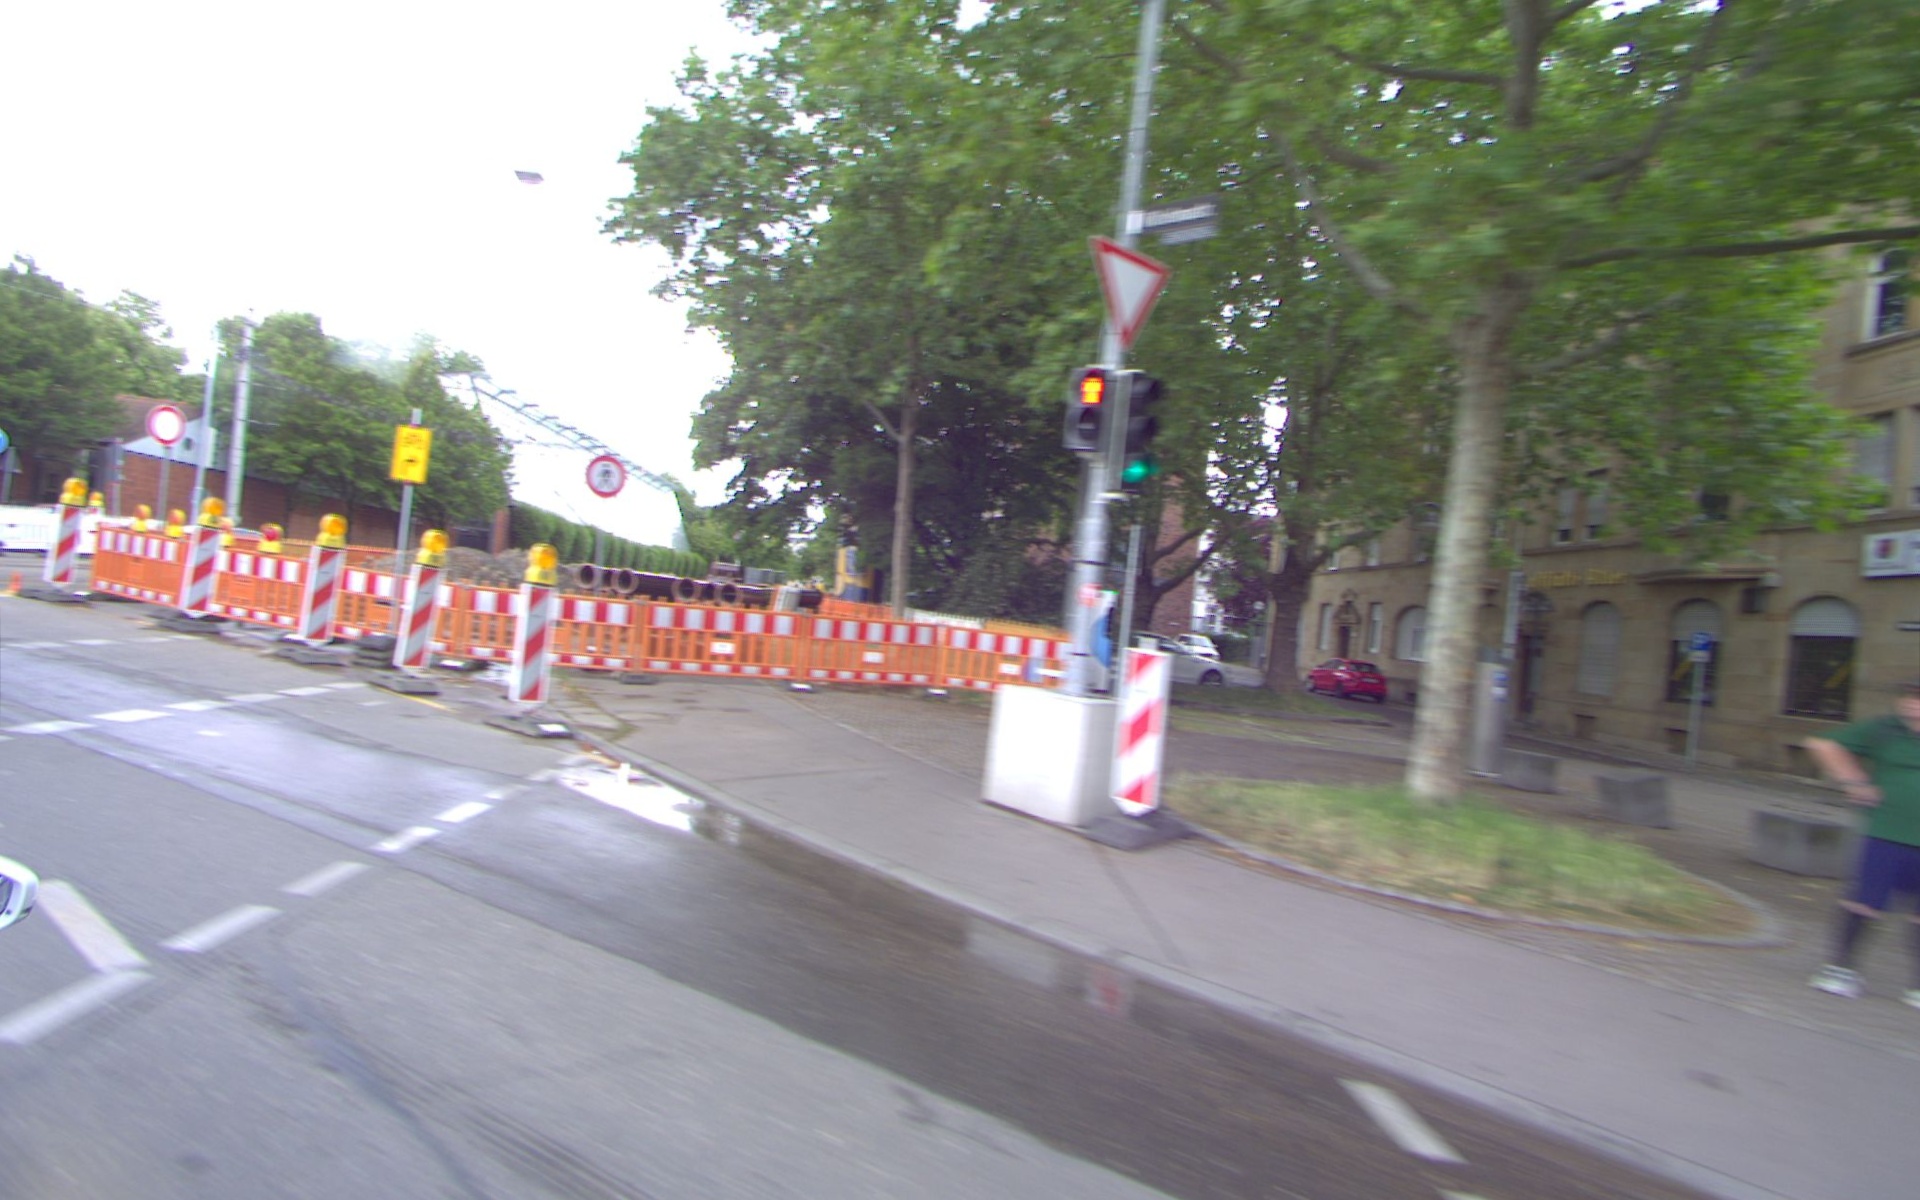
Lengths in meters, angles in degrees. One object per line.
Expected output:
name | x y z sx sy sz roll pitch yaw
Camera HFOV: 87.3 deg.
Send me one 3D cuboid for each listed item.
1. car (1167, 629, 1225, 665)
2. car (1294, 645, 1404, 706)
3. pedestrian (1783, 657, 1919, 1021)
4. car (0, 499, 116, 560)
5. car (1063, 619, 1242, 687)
car | 12.173 2.408 52.050 1.689 1.525 4.108 6 0 -3
car | 14.222 2.719 37.061 1.964 1.733 4.405 6 0 -3
pedestrian | 4.917 1.199 5.141 0.824 1.720 0.731 8 2 32
car | -27.666 -2.129 29.480 1.844 1.460 4.461 5 -1 4
car | 5.231 1.436 27.582 4.428 1.342 1.718 6 0 -7
